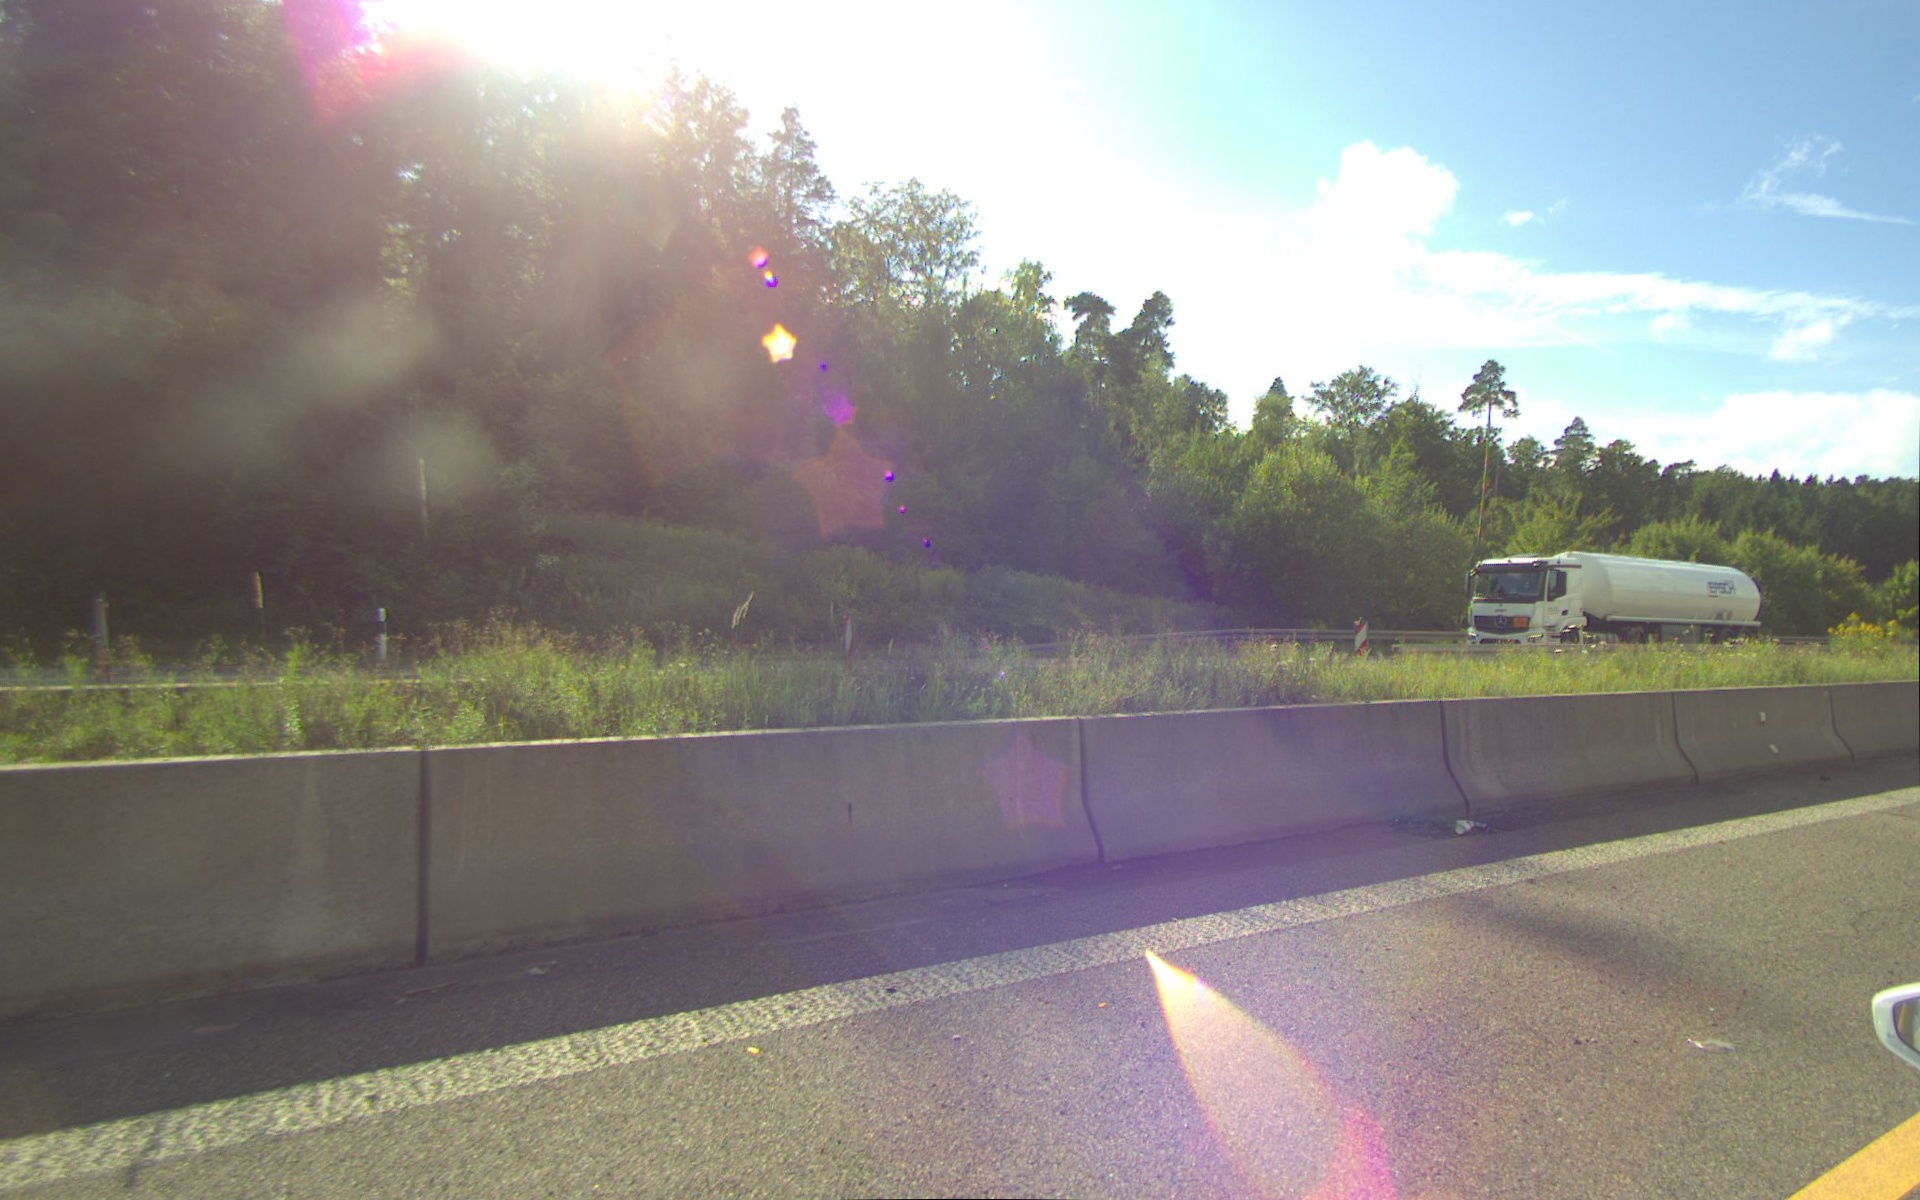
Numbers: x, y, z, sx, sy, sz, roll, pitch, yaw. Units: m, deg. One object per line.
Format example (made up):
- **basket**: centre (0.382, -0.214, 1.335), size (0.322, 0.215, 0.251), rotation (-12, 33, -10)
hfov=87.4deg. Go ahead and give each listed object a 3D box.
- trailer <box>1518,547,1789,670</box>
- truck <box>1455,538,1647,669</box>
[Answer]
- **trailer**: centre (22.868, 0.379, 32.812), size (10.980, 3.536, 2.789), rotation (2, 0, -30)
- **truck**: centre (17.478, 0.141, 29.693), size (4.880, 3.536, 2.772), rotation (2, 0, -29)
